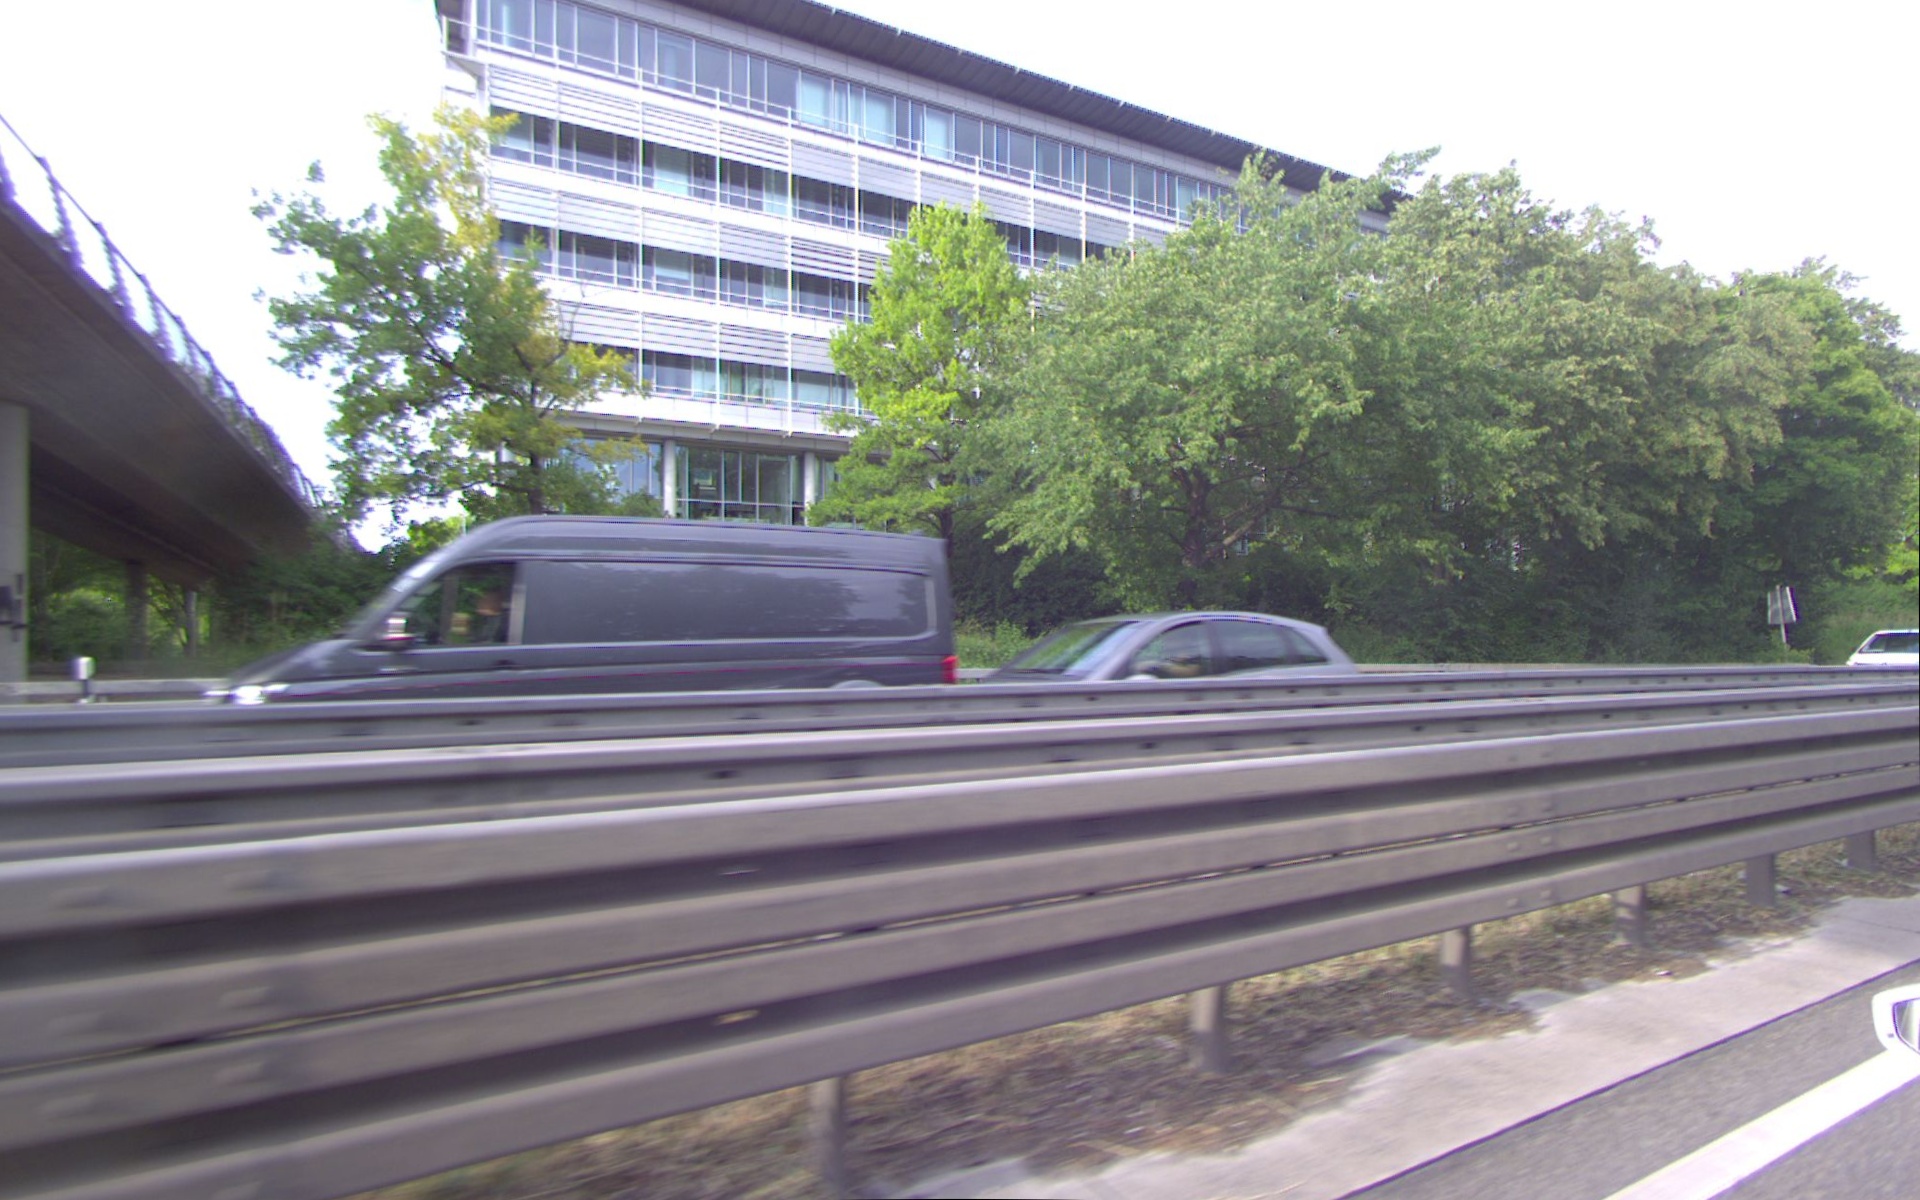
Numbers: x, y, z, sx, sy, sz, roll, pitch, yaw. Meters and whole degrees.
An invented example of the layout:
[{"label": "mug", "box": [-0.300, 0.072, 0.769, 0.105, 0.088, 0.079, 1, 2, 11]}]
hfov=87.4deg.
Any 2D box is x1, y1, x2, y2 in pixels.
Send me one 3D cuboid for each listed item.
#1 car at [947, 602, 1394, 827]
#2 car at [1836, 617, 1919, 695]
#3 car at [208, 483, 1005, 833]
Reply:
[{"label": "car", "box": [1.844, 0.834, 8.538, 3.598, 1.548, 1.598, 1, -1, -31]}, {"label": "car", "box": [24.880, 1.423, 26.015, 4.565, 1.880, 1.860, 1, -1, -29]}, {"label": "car", "box": [-3.047, 0.512, 10.055, 6.857, 2.570, 2.240, 1, -1, -30]}]
